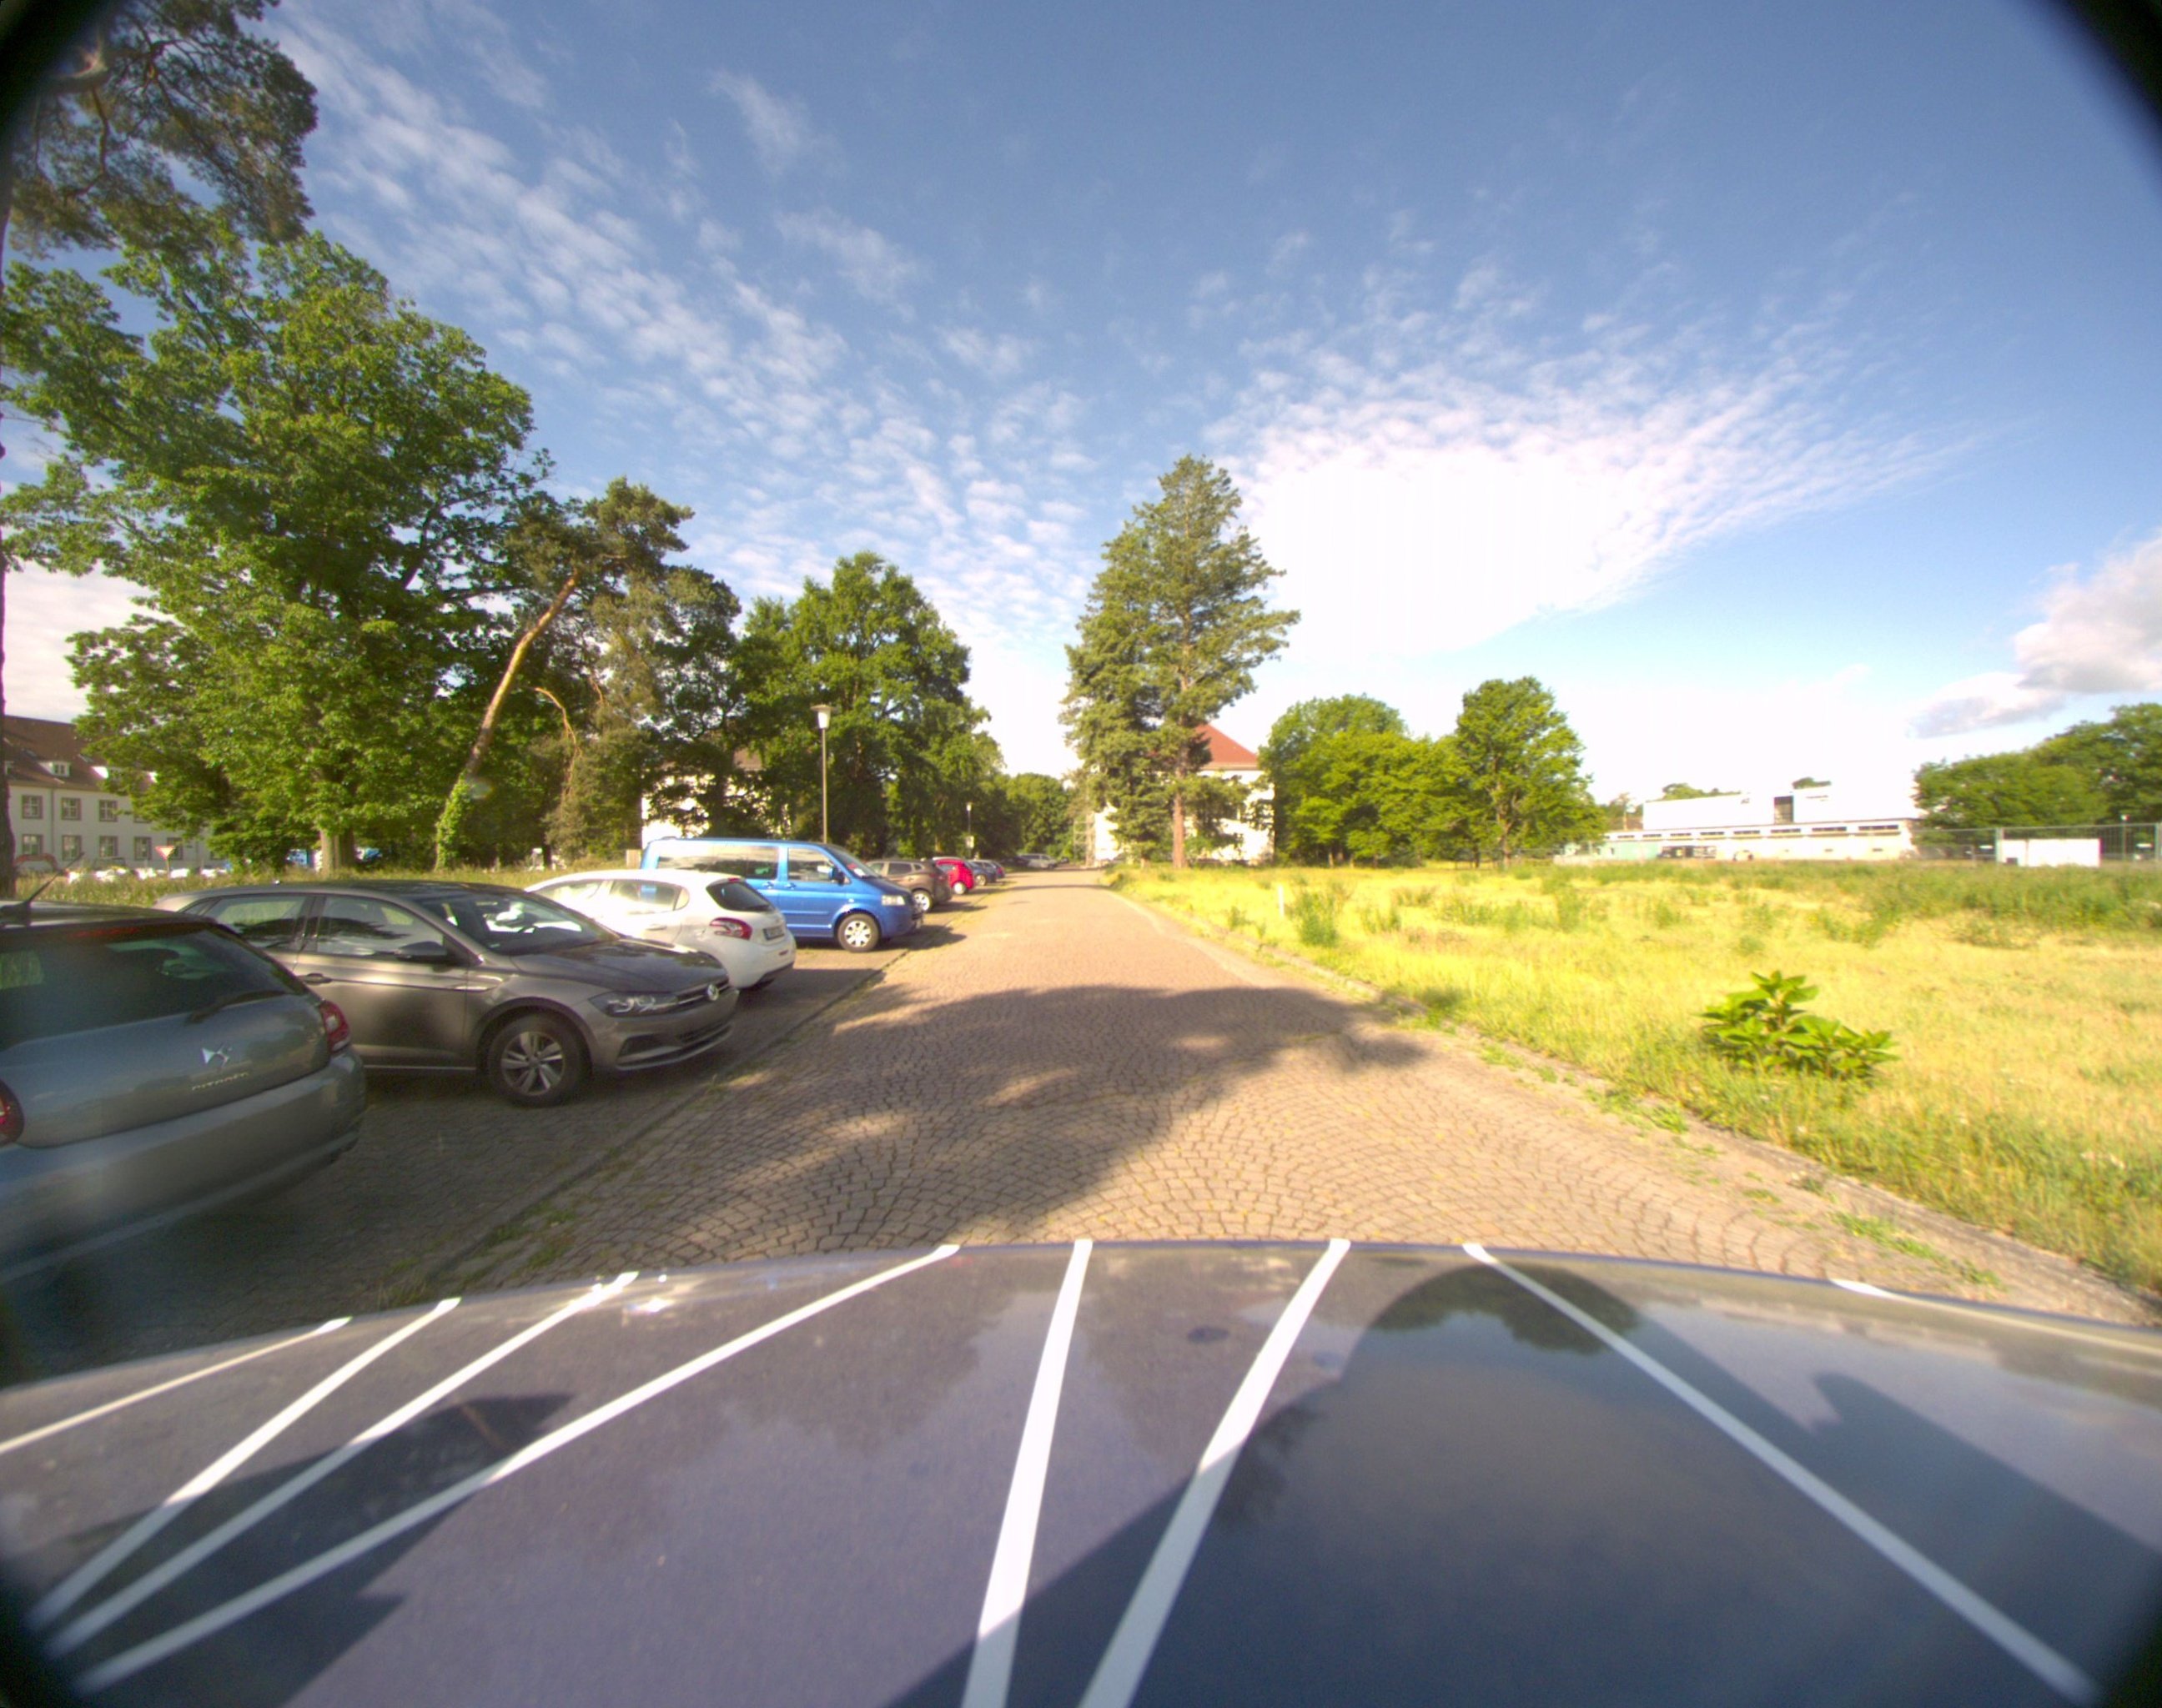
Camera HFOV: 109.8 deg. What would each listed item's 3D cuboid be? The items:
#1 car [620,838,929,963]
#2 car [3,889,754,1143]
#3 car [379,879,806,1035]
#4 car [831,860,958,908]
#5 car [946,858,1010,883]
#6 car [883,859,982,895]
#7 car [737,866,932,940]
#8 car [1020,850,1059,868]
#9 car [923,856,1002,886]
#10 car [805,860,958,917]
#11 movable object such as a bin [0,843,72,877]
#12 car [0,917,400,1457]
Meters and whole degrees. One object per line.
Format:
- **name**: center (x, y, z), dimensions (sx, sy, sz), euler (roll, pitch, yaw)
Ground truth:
- **car**: center (-5.346, 0.788, 13.809), dimensions (4.767, 2.002, 1.999), euler (1, 0, -2)
- **car**: center (-4.663, 1.041, 5.535), dimensions (3.791, 1.442, 1.757), euler (1, 0, -1)
- **car**: center (-5.187, 1.056, 8.461), dimensions (3.655, 1.483, 1.634), euler (0, 0, -2)
- **car**: center (-6.165, 0.980, 25.427), dimensions (3.835, 1.530, 1.703), euler (0, 0, -2)
- **car**: center (-6.489, 1.037, 47.939), dimensions (3.810, 1.458, 1.746), euler (-1, 0, -2)
- **car**: center (-6.360, 0.974, 32.888), dimensions (3.998, 1.487, 1.540), euler (-1, 0, -3)
- **car**: center (-5.209, 1.027, 16.447), dimensions (3.731, 1.458, 1.609), euler (1, 0, -5)
- **car**: center (-5.327, 0.626, 97.006), dimensions (4.995, 2.123, 2.164), euler (-1, 0, -5)
- **car**: center (-6.684, 0.934, 43.169), dimensions (4.274, 1.589, 1.651), euler (-1, 0, -3)
- **car**: center (-5.834, 0.996, 22.624), dimensions (4.119, 1.601, 1.785), euler (0, 0, -4)
- **movable object such as a bin**: center (-93.106, 0.545, 66.643), dimensions (2.178, 2.884, 5.074), euler (0, 0, 4)
- **car**: center (-5.030, 1.016, 2.675), dimensions (3.673, 1.446, 1.666), euler (1, 0, -3)
